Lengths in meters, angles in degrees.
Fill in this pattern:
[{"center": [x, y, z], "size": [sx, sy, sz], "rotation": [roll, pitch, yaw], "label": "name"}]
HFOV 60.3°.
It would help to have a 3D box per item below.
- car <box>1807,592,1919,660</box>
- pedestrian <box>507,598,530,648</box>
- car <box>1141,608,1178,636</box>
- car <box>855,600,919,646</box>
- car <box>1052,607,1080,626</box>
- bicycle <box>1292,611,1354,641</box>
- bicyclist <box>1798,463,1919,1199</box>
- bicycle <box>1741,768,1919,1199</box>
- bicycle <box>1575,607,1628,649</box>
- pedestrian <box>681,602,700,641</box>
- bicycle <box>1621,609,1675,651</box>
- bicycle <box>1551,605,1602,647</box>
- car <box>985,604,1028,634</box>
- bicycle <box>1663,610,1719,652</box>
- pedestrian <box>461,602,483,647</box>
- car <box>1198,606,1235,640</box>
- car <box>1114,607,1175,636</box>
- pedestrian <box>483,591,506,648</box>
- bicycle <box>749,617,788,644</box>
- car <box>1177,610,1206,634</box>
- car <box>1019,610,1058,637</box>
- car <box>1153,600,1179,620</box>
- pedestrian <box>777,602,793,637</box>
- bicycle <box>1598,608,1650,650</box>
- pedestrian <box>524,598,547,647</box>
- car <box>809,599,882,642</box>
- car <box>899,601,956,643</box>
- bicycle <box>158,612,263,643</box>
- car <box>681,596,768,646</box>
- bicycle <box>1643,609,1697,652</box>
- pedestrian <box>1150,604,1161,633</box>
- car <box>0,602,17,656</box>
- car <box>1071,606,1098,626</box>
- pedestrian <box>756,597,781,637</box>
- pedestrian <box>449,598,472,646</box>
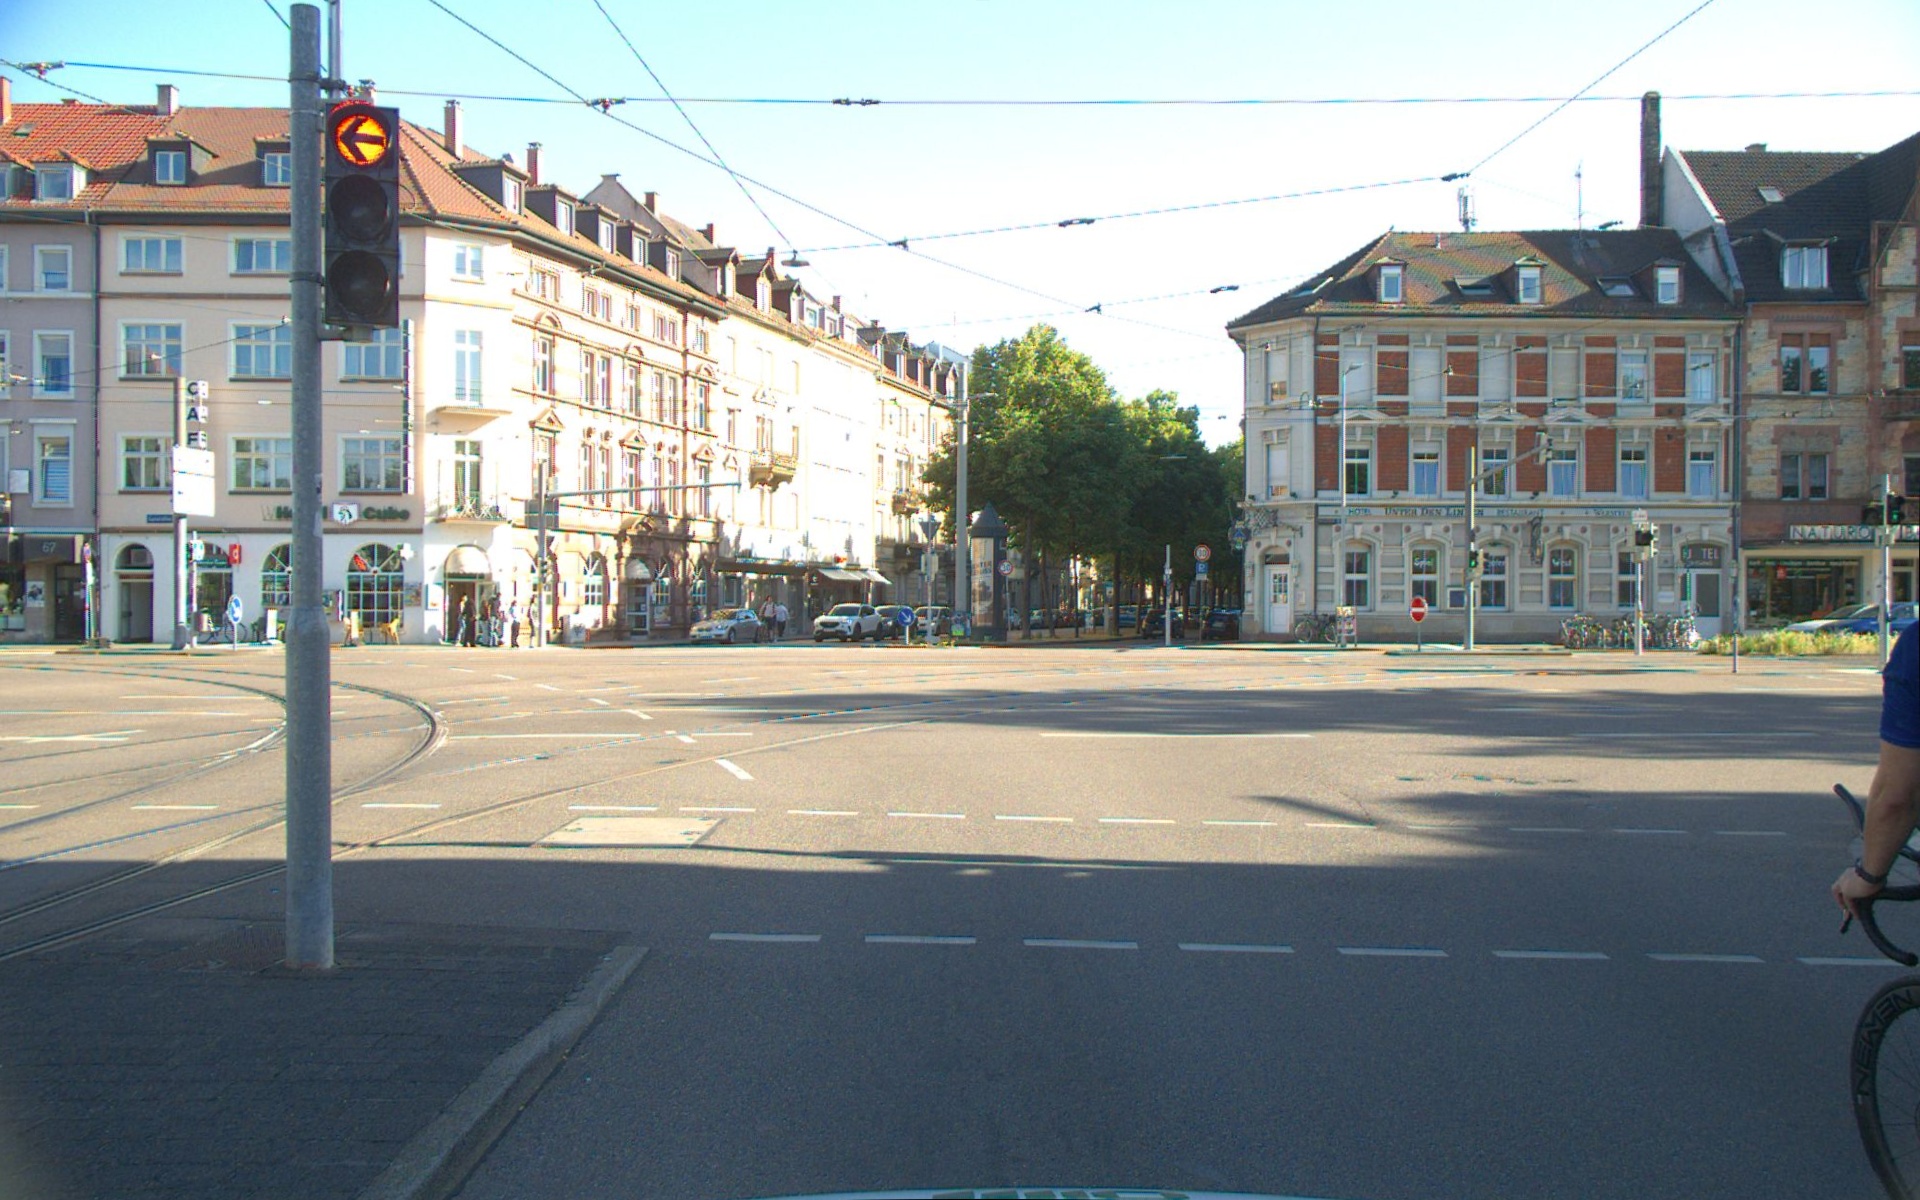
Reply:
[{"center": [25.931, 0.733, 46.046], "size": [3.706, 1.809, 1.999], "rotation": [1, 0, -2], "label": "car"}, {"center": [-14.860, 0.759, 55.669], "size": [0.620, 1.662, 0.700], "rotation": [1, -1, -4], "label": "pedestrian"}, {"center": [10.320, 1.146, 85.466], "size": [1.716, 1.386, 3.859], "rotation": [1, 0, 10], "label": "car"}, {"center": [-3.218, 1.012, 73.807], "size": [1.951, 1.937, 4.003], "rotation": [1, 0, 11], "label": "car"}, {"center": [8.482, 1.311, 132.134], "size": [1.526, 1.540, 3.658], "rotation": [1, 0, 16], "label": "car"}, {"center": [12.570, 0.898, 57.260], "size": [2.006, 1.015, 0.631], "rotation": [0, 0, 2], "label": "bicycle"}, {"center": [2.168, 0.499, 3.218], "size": [0.625, 1.520, 0.884], "rotation": [1, 1, 3], "label": "bicyclist"}, {"center": [2.178, 0.962, 3.155], "size": [0.613, 1.104, 1.703], "rotation": [1, 0, 2], "label": "bicycle"}, {"center": [20.596, 0.894, 53.123], "size": [0.678, 1.309, 2.661], "rotation": [1, 0, 0], "label": "bicycle"}, {"center": [-11.519, 0.921, 70.722], "size": [0.532, 1.660, 0.707], "rotation": [1, -1, 13], "label": "pedestrian"}, {"center": [22.083, 0.955, 53.147], "size": [0.615, 1.309, 2.661], "rotation": [1, 0, 0], "label": "bicycle"}, {"center": [19.795, 0.827, 53.165], "size": [0.678, 1.309, 2.661], "rotation": [1, 0, 0], "label": "bicycle"}, {"center": [3.184, 1.286, 112.733], "size": [1.951, 1.937, 4.002], "rotation": [1, 0, 16], "label": "car"}, {"center": [23.482, 0.983, 53.169], "size": [0.615, 1.309, 2.661], "rotation": [1, 0, 0], "label": "bicycle"}, {"center": [-16.470, 0.832, 55.832], "size": [0.620, 1.502, 0.465], "rotation": [1, -1, -5], "label": "pedestrian"}, {"center": [12.870, 1.135, 82.772], "size": [1.655, 1.592, 3.844], "rotation": [1, 0, 11], "label": "car"}, {"center": [12.854, 1.461, 115.148], "size": [3.902, 1.937, 2.001], "rotation": [1, 0, 15], "label": "car"}, {"center": [-15.964, 0.667, 56.730], "size": [0.620, 1.914, 0.465], "rotation": [1, -1, -5], "label": "pedestrian"}, {"center": [-7.529, 1.204, 65.156], "size": [0.746, 1.025, 2.398], "rotation": [1, 0, 13], "label": "bicycle"}, {"center": [15.928, 1.497, 113.583], "size": [1.734, 1.557, 4.003], "rotation": [1, 0, 11], "label": "car"}, {"center": [5.829, 1.724, 122.441], "size": [1.951, 1.937, 4.002], "rotation": [1, 0, 16], "label": "car"}, {"center": [16.832, 0.832, 134.972], "size": [1.526, 1.540, 3.658], "rotation": [1, 0, 16], "label": "car"}, {"center": [-8.456, 0.945, 79.861], "size": [0.532, 1.660, 0.707], "rotation": [1, -1, 13], "label": "pedestrian"}, {"center": [21.306, 0.906, 53.144], "size": [0.615, 1.309, 2.661], "rotation": [1, 0, 0], "label": "bicycle"}, {"center": [-14.622, 0.783, 56.994], "size": [0.620, 1.662, 0.700], "rotation": [1, -1, -4], "label": "pedestrian"}, {"center": [-4.624, 0.826, 67.206], "size": [1.951, 1.646, 4.003], "rotation": [1, 0, 11], "label": "car"}, {"center": [-1.528, 1.066, 79.677], "size": [1.951, 1.937, 4.003], "rotation": [1, 0, 11], "label": "car"}, {"center": [-25.517, 0.942, 56.349], "size": [3.066, 0.997, 1.001], "rotation": [1, 0, -1], "label": "bicycle"}, {"center": [-9.492, 0.831, 66.911], "size": [1.951, 1.937, 4.002], "rotation": [1, 0, 17], "label": "car"}, {"center": [22.798, 0.966, 53.171], "size": [0.615, 1.309, 2.661], "rotation": [1, 0, 0], "label": "bicycle"}, {"center": [12.487, 1.171, 105.452], "size": [0.626, 1.827, 0.491], "rotation": [1, -1, 12], "label": "pedestrian"}, {"center": [-32.387, 0.914, 52.428], "size": [3.902, 1.699, 2.002], "rotation": [0, 0, 8], "label": "car"}, {"center": [10.268, 1.309, 136.242], "size": [1.526, 1.540, 3.658], "rotation": [1, 0, 16], "label": "car"}, {"center": [-7.541, 0.665, 65.084], "size": [0.803, 1.539, 0.598], "rotation": [1, -1, 14], "label": "pedestrian"}, {"center": [-17.035, 0.753, 56.397], "size": [0.620, 1.640, 0.465], "rotation": [1, -1, -5], "label": "pedestrian"}]
